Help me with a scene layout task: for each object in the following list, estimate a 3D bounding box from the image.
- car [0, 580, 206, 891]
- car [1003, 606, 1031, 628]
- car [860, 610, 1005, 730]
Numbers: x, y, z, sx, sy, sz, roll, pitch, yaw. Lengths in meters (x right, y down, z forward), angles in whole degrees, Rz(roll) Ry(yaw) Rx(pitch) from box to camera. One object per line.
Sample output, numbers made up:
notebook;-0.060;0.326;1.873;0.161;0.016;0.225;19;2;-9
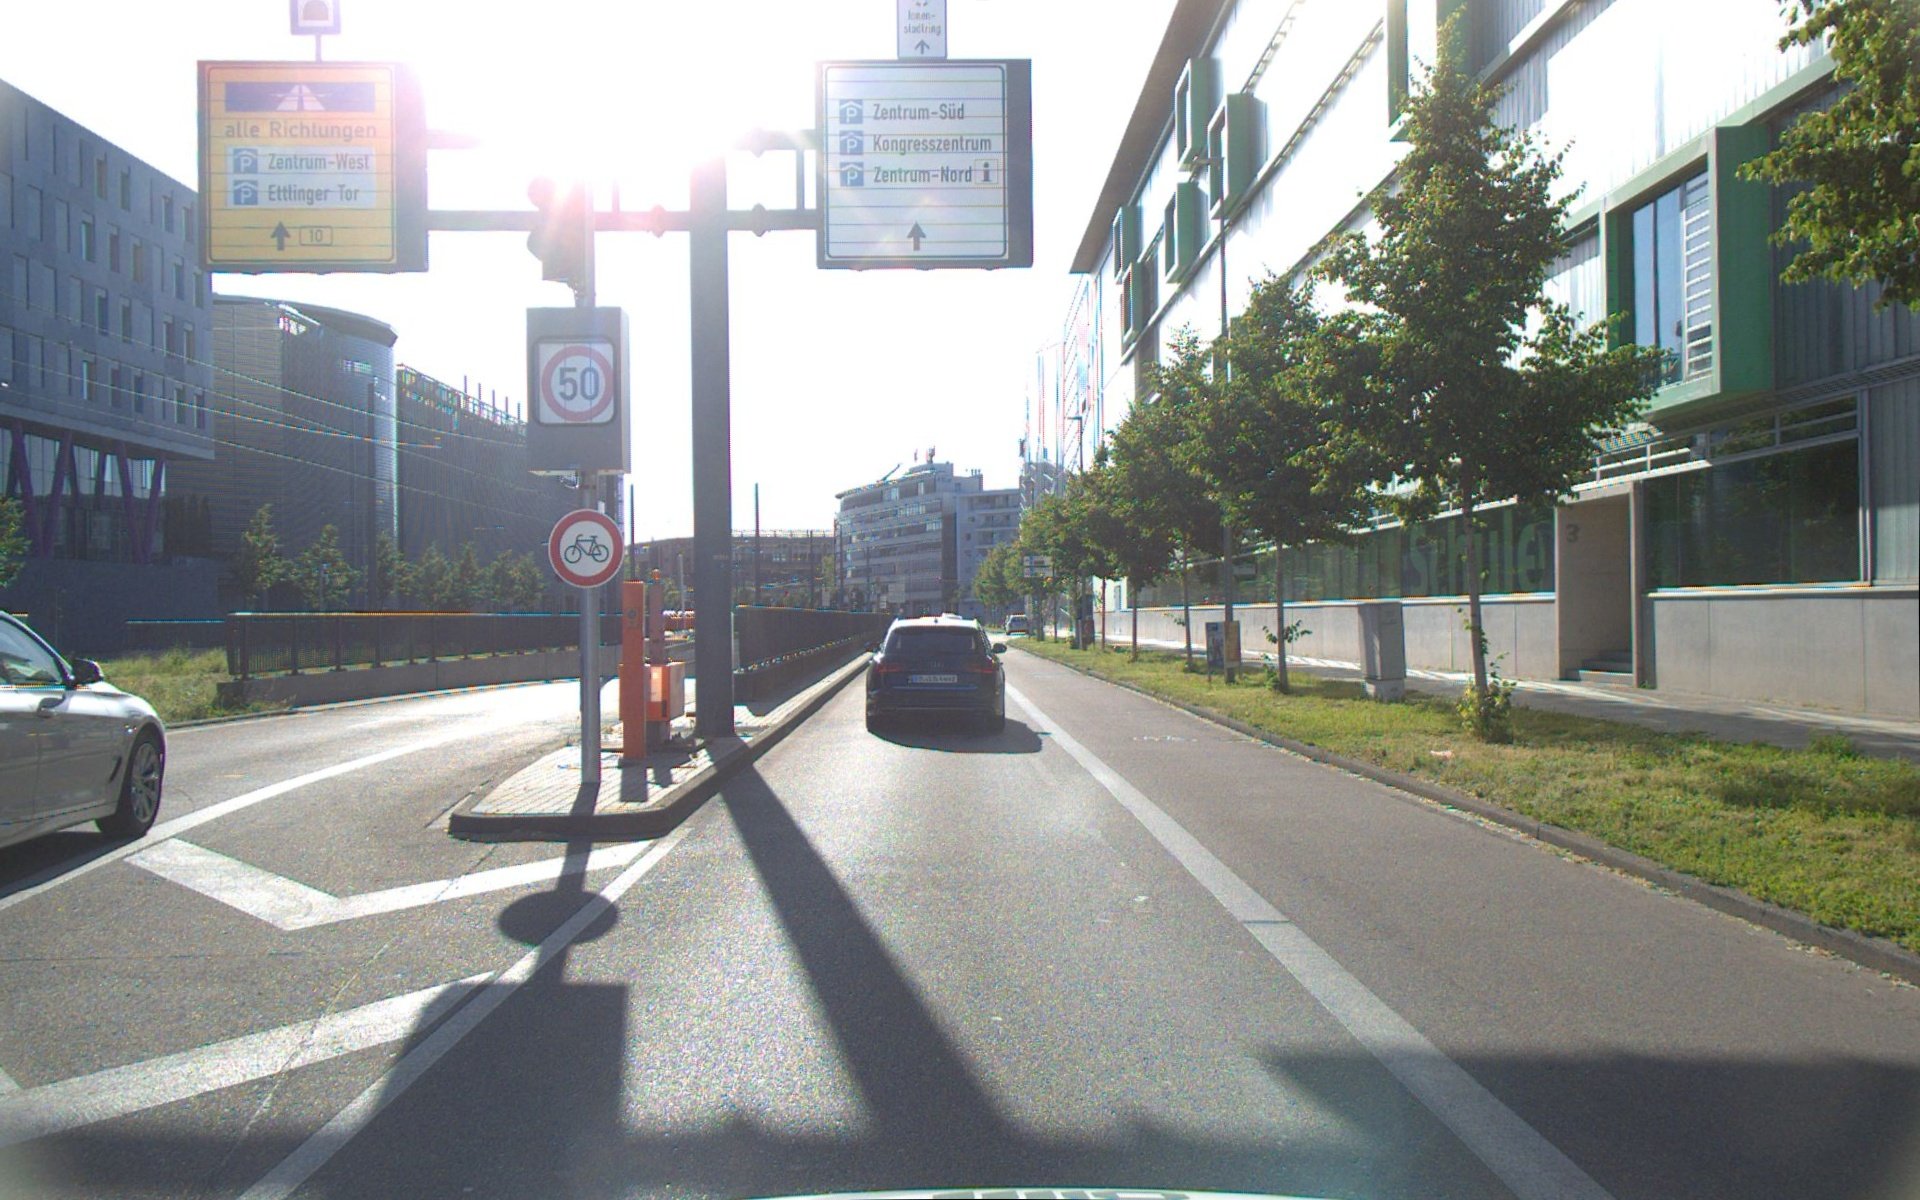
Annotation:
car;-5.759;0.666;8.860;1.765;1.553;4.901;1;0;-8
car;4.312;1.274;125.605;1.815;1.507;4.852;-3;0;-2
car;-0.378;0.897;22.844;1.775;1.452;4.688;-1;-1;-1
